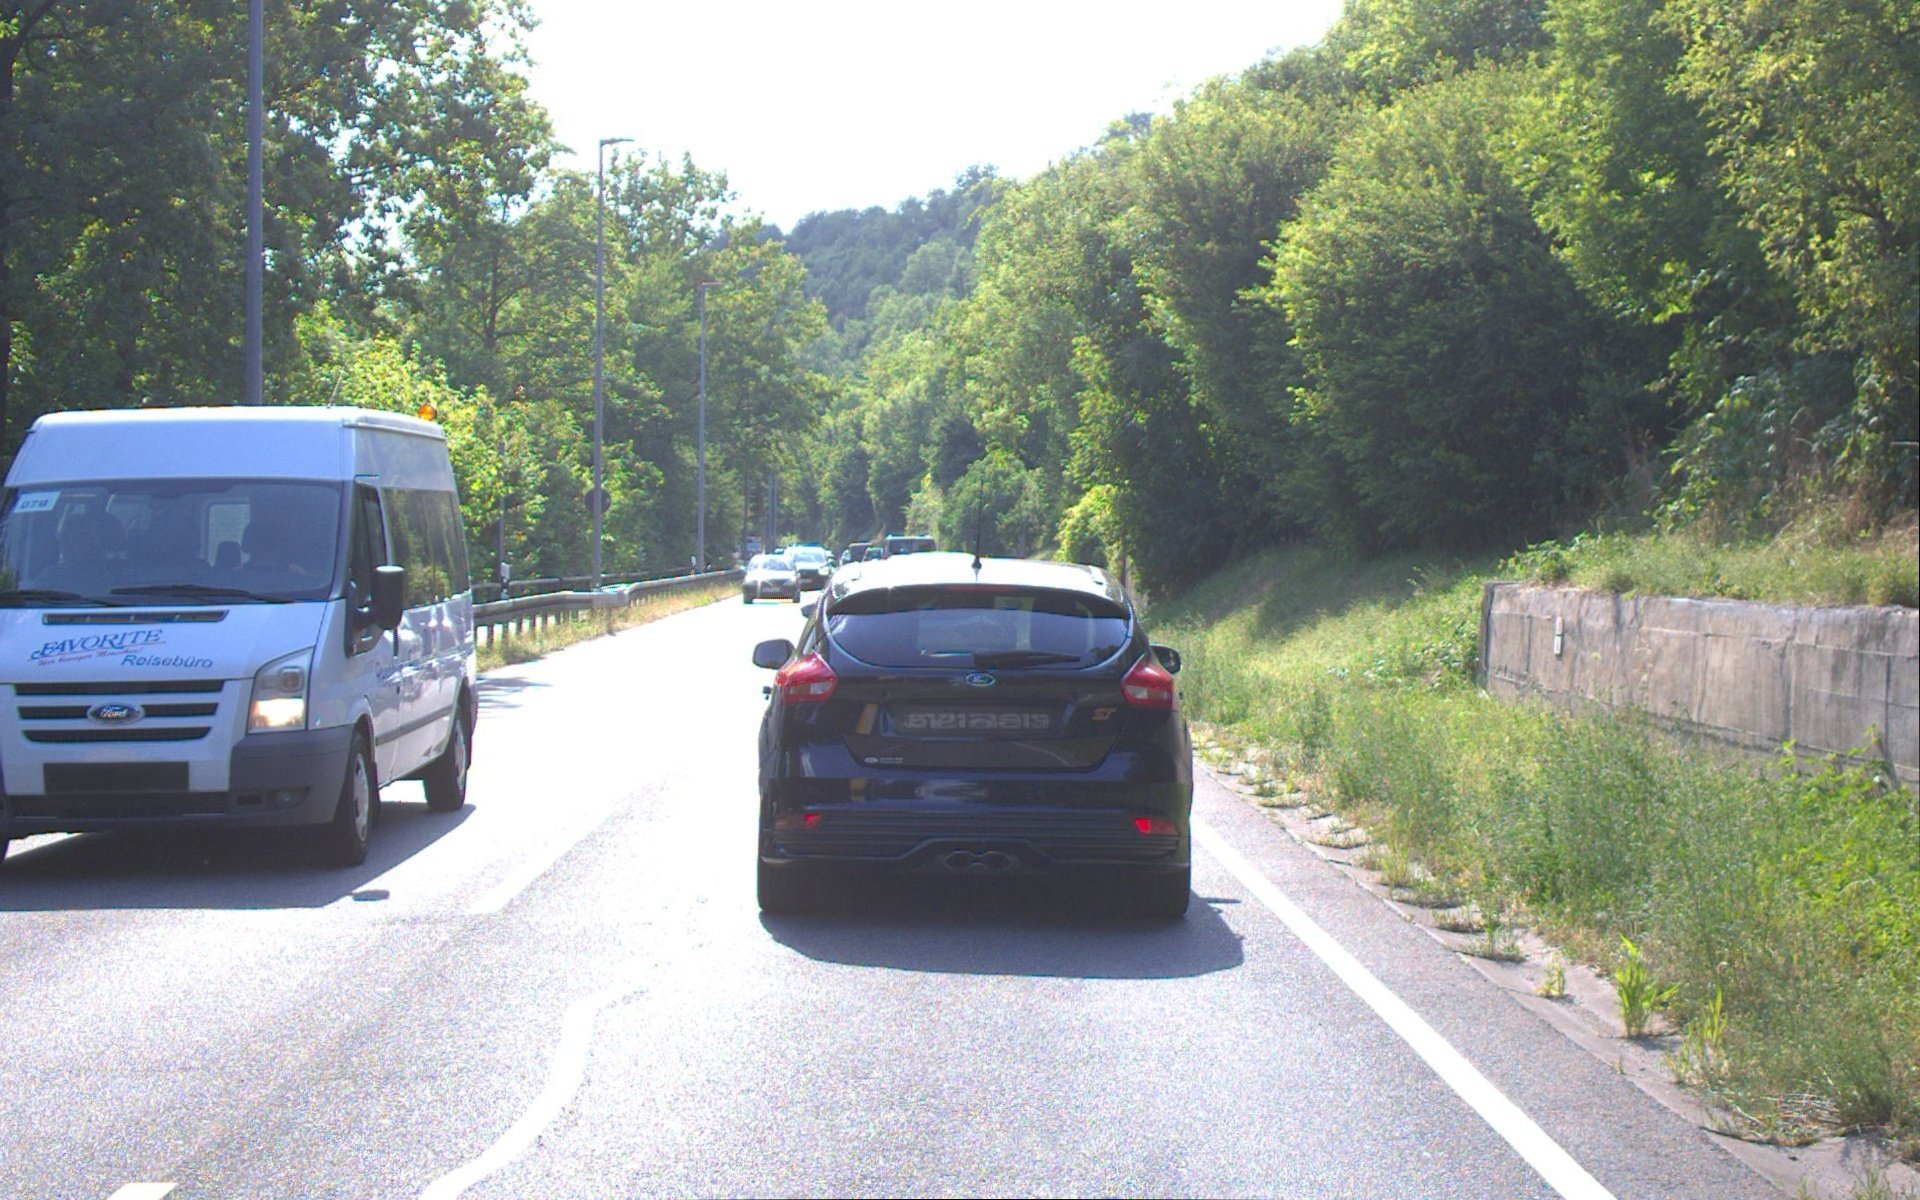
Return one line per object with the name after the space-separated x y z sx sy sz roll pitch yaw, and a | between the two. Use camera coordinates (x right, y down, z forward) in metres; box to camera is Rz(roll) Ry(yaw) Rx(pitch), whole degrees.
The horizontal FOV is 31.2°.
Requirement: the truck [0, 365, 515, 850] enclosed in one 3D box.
-3.899 -0.014 19.890 2.057 2.377 5.874 0 1 -2 | truck

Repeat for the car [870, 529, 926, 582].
-2.102 -1.515 117.682 1.863 1.774 4.000 0 1 0 | car

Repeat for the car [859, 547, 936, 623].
-1.355 -0.346 74.924 1.631 1.590 4.000 0 1 -1 | car

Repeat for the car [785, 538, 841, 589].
-5.038 -1.258 118.102 1.748 1.712 4.221 0 1 0 | car

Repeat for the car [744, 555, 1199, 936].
0.021 0.539 15.236 1.739 1.451 4.000 1 1 -1 | car

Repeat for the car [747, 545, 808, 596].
-5.435 -0.897 102.659 1.681 1.437 4.000 -1 1 -1 | car

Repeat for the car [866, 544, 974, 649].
-0.631 -0.083 54.123 1.631 1.590 4.000 0 1 -1 | car

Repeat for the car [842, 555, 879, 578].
-6.648 -2.236 229.273 1.993 1.514 4.001 0 1 -8 | car

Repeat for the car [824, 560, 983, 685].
-0.662 0.230 40.971 1.804 1.387 4.000 0 1 -1 | car

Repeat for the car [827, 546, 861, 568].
-8.170 -3.041 242.108 1.993 1.514 4.001 0 1 -8 | car

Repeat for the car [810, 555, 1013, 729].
-0.373 0.322 30.325 1.661 1.413 4.000 0 1 1 | car

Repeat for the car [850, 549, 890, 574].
-5.452 -2.342 207.939 1.993 1.514 4.001 0 1 -8 | car
